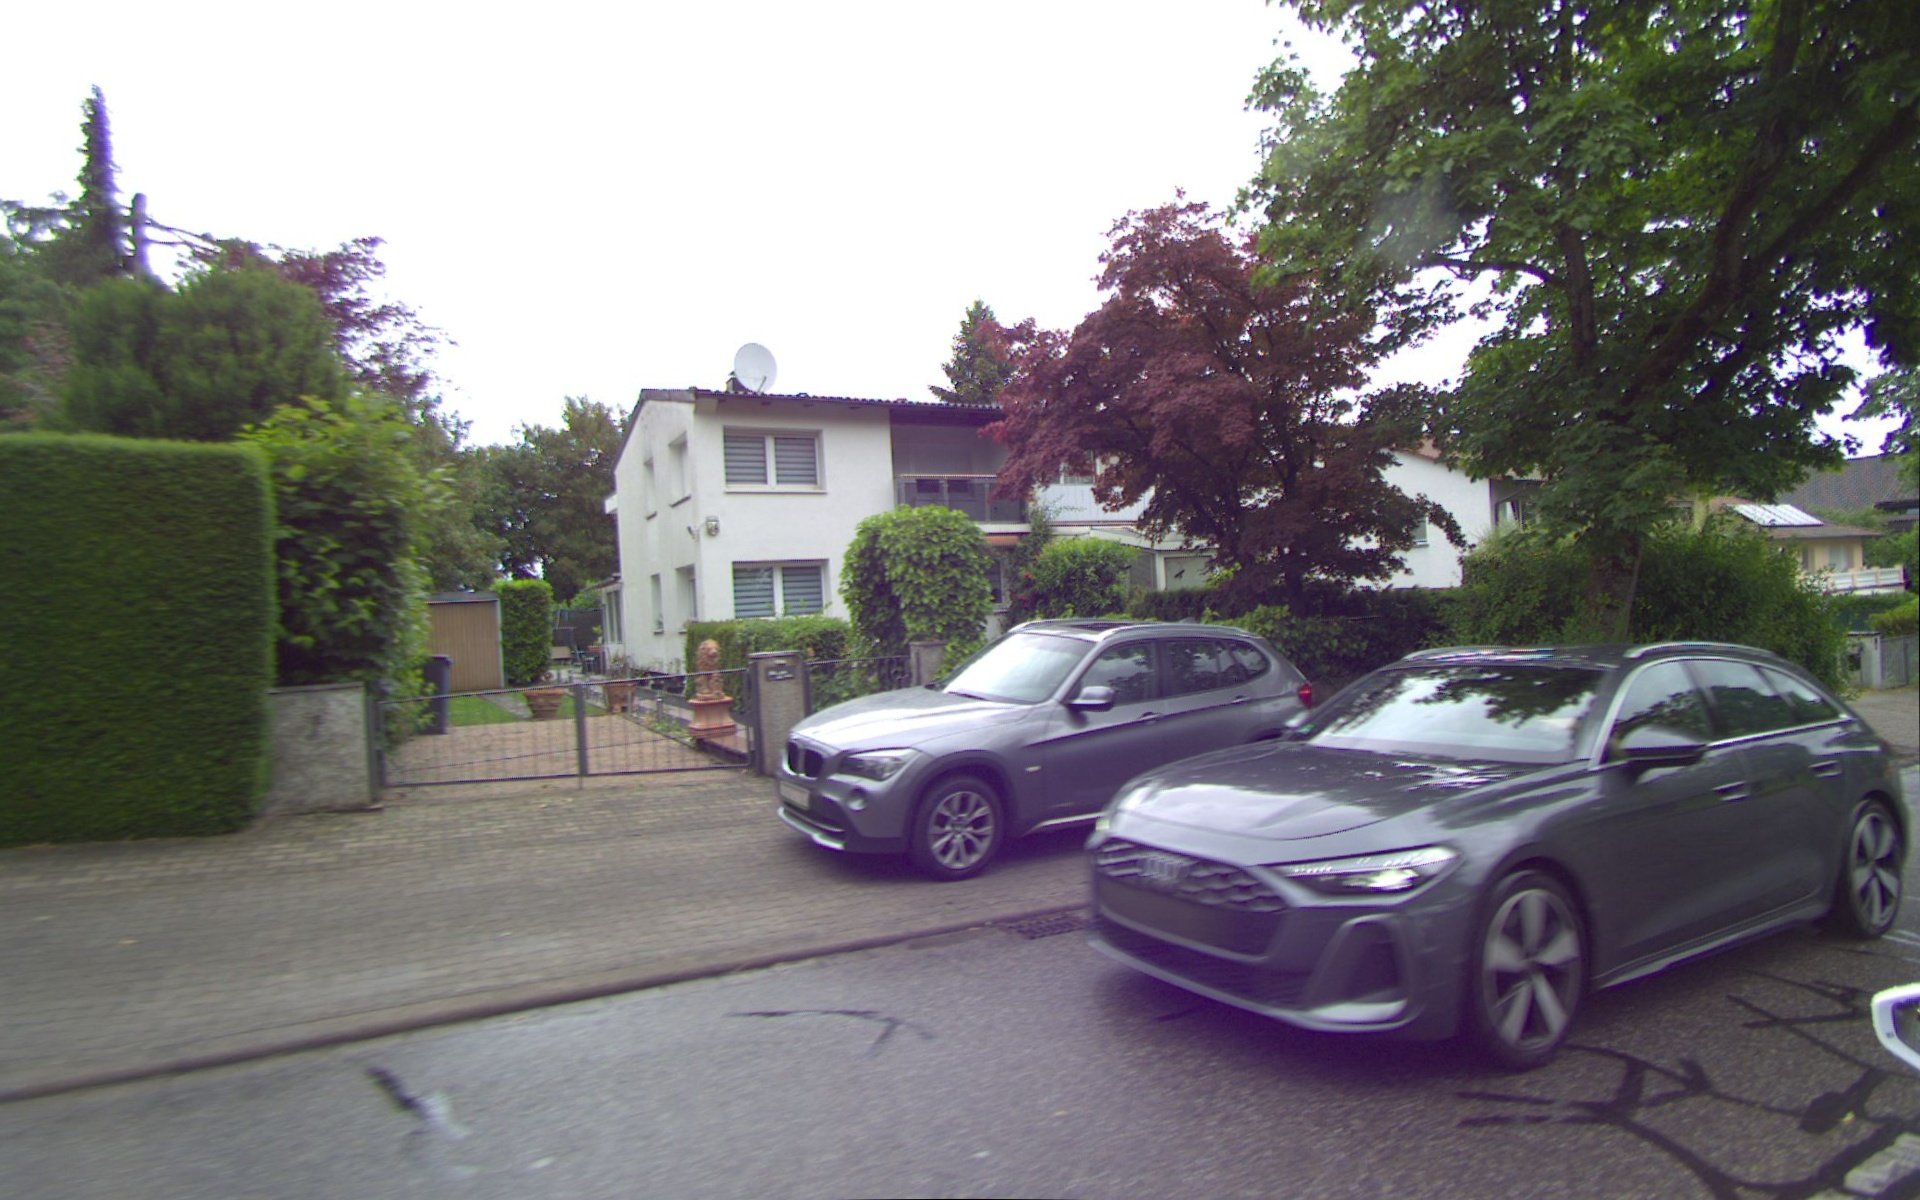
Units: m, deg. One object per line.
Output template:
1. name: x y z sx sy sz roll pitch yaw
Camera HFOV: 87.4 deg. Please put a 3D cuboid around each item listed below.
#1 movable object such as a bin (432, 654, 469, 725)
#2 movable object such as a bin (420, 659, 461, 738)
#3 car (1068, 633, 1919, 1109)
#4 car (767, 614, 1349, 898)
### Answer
1. movable object such as a bin: -7.943 1.385 15.666 0.478 1.039 0.626 1 0 -30
2. movable object such as a bin: -7.293 1.371 14.097 0.478 1.039 0.626 1 0 -30
3. car: 2.825 0.914 4.878 4.438 1.414 1.682 1 -5 -30
4. car: 0.848 0.926 7.600 4.235 1.563 1.654 0 2 -31
